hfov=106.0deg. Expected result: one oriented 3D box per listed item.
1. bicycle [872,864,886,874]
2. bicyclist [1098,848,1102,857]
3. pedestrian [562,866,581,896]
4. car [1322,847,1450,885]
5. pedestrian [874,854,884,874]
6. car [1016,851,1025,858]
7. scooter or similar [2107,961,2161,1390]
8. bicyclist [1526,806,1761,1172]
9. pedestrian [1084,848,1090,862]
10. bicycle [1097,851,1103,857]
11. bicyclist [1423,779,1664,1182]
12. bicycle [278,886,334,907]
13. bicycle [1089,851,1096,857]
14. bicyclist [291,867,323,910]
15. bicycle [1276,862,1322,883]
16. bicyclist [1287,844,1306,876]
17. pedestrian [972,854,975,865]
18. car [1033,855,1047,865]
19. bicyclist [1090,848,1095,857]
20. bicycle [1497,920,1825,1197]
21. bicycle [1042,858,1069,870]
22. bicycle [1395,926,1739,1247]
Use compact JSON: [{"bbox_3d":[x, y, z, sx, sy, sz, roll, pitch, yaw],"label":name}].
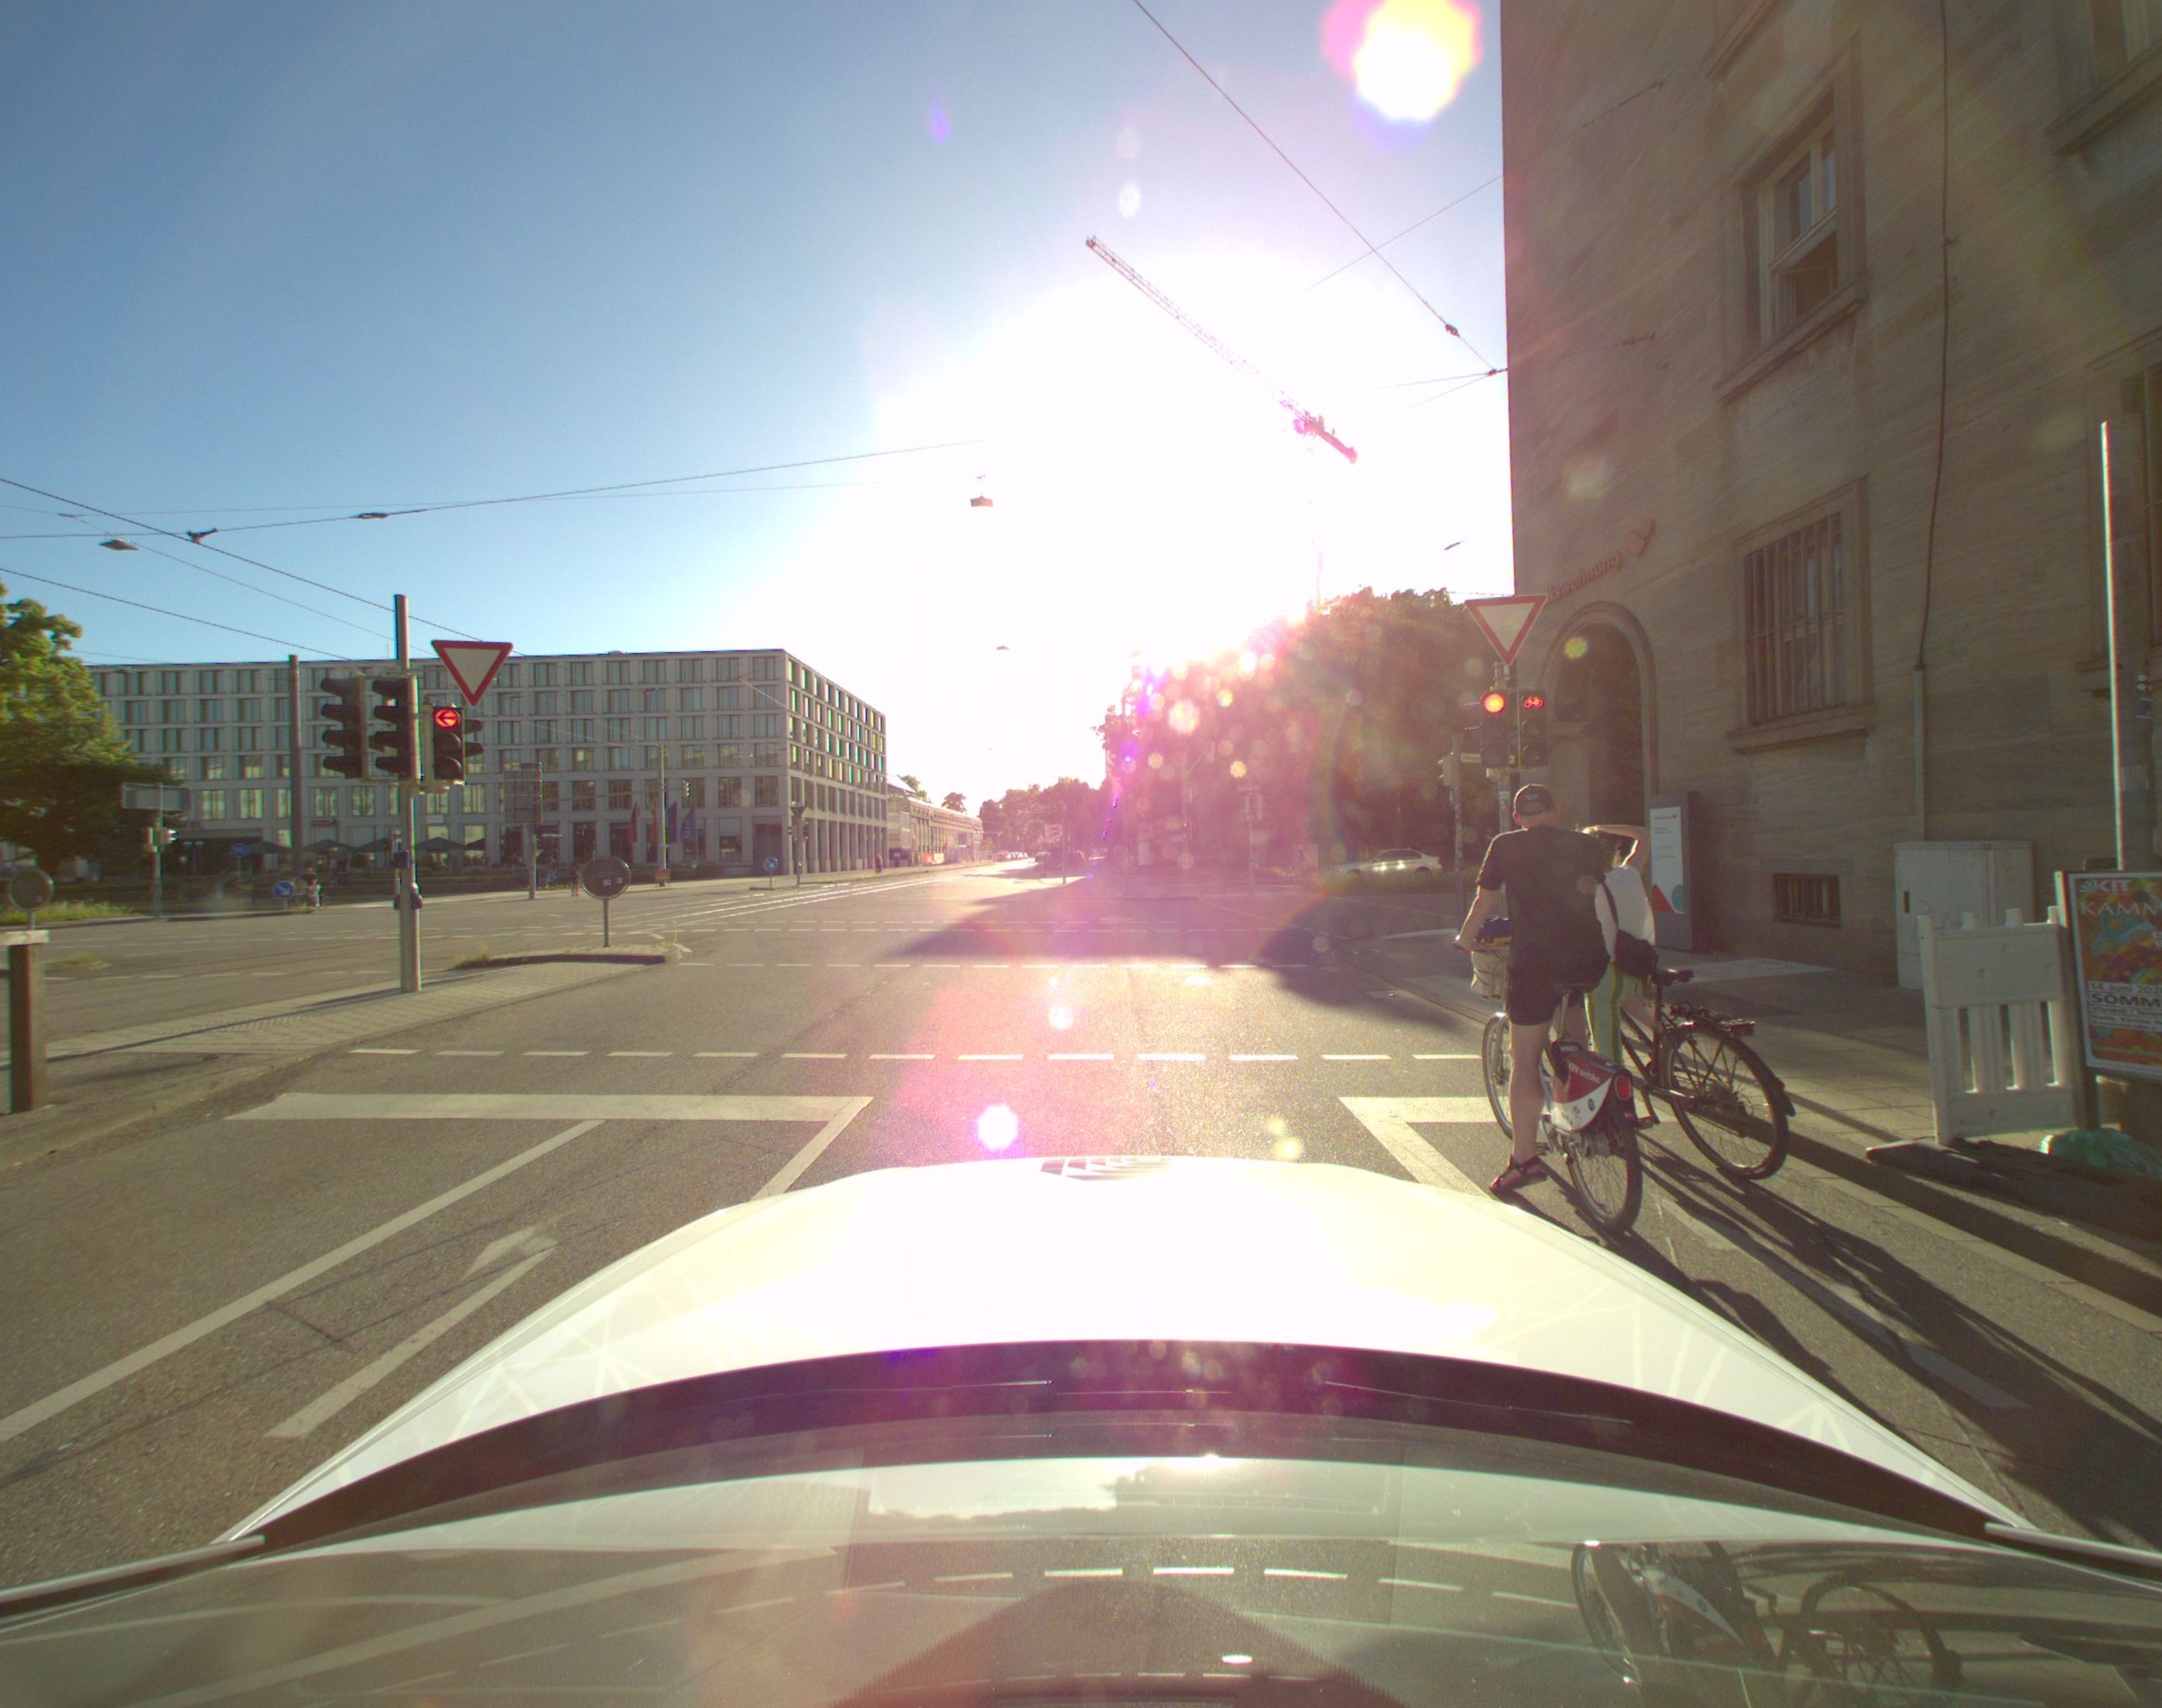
[{"bbox_3d":[-16.577,1.212,66.899,0.569,0.823,1.721,-2,0,6],"label":"bicycle"},{"bbox_3d":[4.032,-0.342,173.603,0.891,2.014,0.746,0,-1,-10],"label":"bicyclist"},{"bbox_3d":[-28.551,1.504,45.622,0.600,1.681,0.608,-2,0,9],"label":"pedestrian"},{"bbox_3d":[12.432,0.489,33.426,4.559,1.516,2.001,0,-1,1],"label":"car"},{"bbox_3d":[-16.589,0.822,66.898,0.569,1.595,0.746,-2,0,5],"label":"pedestrian"},{"bbox_3d":[-14.481,0.188,195.332,1.988,1.644,3.998,-2,0,-1],"label":"car"},{"bbox_3d":[3.277,0.876,1.712,0.572,1.149,1.269,-1,0,-7],"label":"scooter or similar"},{"bbox_3d":[2.957,0.646,4.380,0.581,1.738,0.951,-2,0,2],"label":"bicyclist"},{"bbox_3d":[0.736,0.103,97.897,0.576,1.689,0.584,-2,0,-6],"label":"pedestrian"},{"bbox_3d":[4.070,0.055,173.504,0.890,1.219,2.784,0,-1,-9],"label":"bicycle"},{"bbox_3d":[2.178,0.542,3.958,0.621,1.715,0.913,-2,0,1],"label":"bicyclist"},{"bbox_3d":[-32.657,1.788,34.362,0.532,0.787,1.853,-2,0,2],"label":"bicycle"},{"bbox_3d":[2.414,0.063,173.104,0.890,1.219,2.784,0,-1,-9],"label":"bicycle"},{"bbox_3d":[-32.676,1.458,34.382,0.532,1.761,0.771,-2,0,2],"label":"bicyclist"},{"bbox_3d":[9.708,0.812,36.295,1.932,0.889,0.719,-1,-1,8],"label":"bicycle"},{"bbox_3d":[9.615,0.249,36.308,0.742,1.406,0.704,0,-1,8],"label":"bicyclist"},{"bbox_3d":[-18.761,1.019,142.226,0.586,1.889,0.478,0,-1,-3],"label":"pedestrian"},{"bbox_3d":[-6.545,0.930,131.066,1.986,1.640,4.001,0,0,2],"label":"car"},{"bbox_3d":[2.387,-0.334,173.189,0.891,2.014,0.746,0,-1,-10],"label":"bicyclist"},{"bbox_3d":[2.966,0.961,4.414,0.579,1.044,1.748,-2,0,3],"label":"bicycle"},{"bbox_3d":[-2.095,0.799,67.437,2.240,0.940,0.653,-2,0,-4],"label":"bicycle"},{"bbox_3d":[2.185,0.962,3.968,0.621,1.044,1.747,-2,0,1],"label":"bicycle"}]
